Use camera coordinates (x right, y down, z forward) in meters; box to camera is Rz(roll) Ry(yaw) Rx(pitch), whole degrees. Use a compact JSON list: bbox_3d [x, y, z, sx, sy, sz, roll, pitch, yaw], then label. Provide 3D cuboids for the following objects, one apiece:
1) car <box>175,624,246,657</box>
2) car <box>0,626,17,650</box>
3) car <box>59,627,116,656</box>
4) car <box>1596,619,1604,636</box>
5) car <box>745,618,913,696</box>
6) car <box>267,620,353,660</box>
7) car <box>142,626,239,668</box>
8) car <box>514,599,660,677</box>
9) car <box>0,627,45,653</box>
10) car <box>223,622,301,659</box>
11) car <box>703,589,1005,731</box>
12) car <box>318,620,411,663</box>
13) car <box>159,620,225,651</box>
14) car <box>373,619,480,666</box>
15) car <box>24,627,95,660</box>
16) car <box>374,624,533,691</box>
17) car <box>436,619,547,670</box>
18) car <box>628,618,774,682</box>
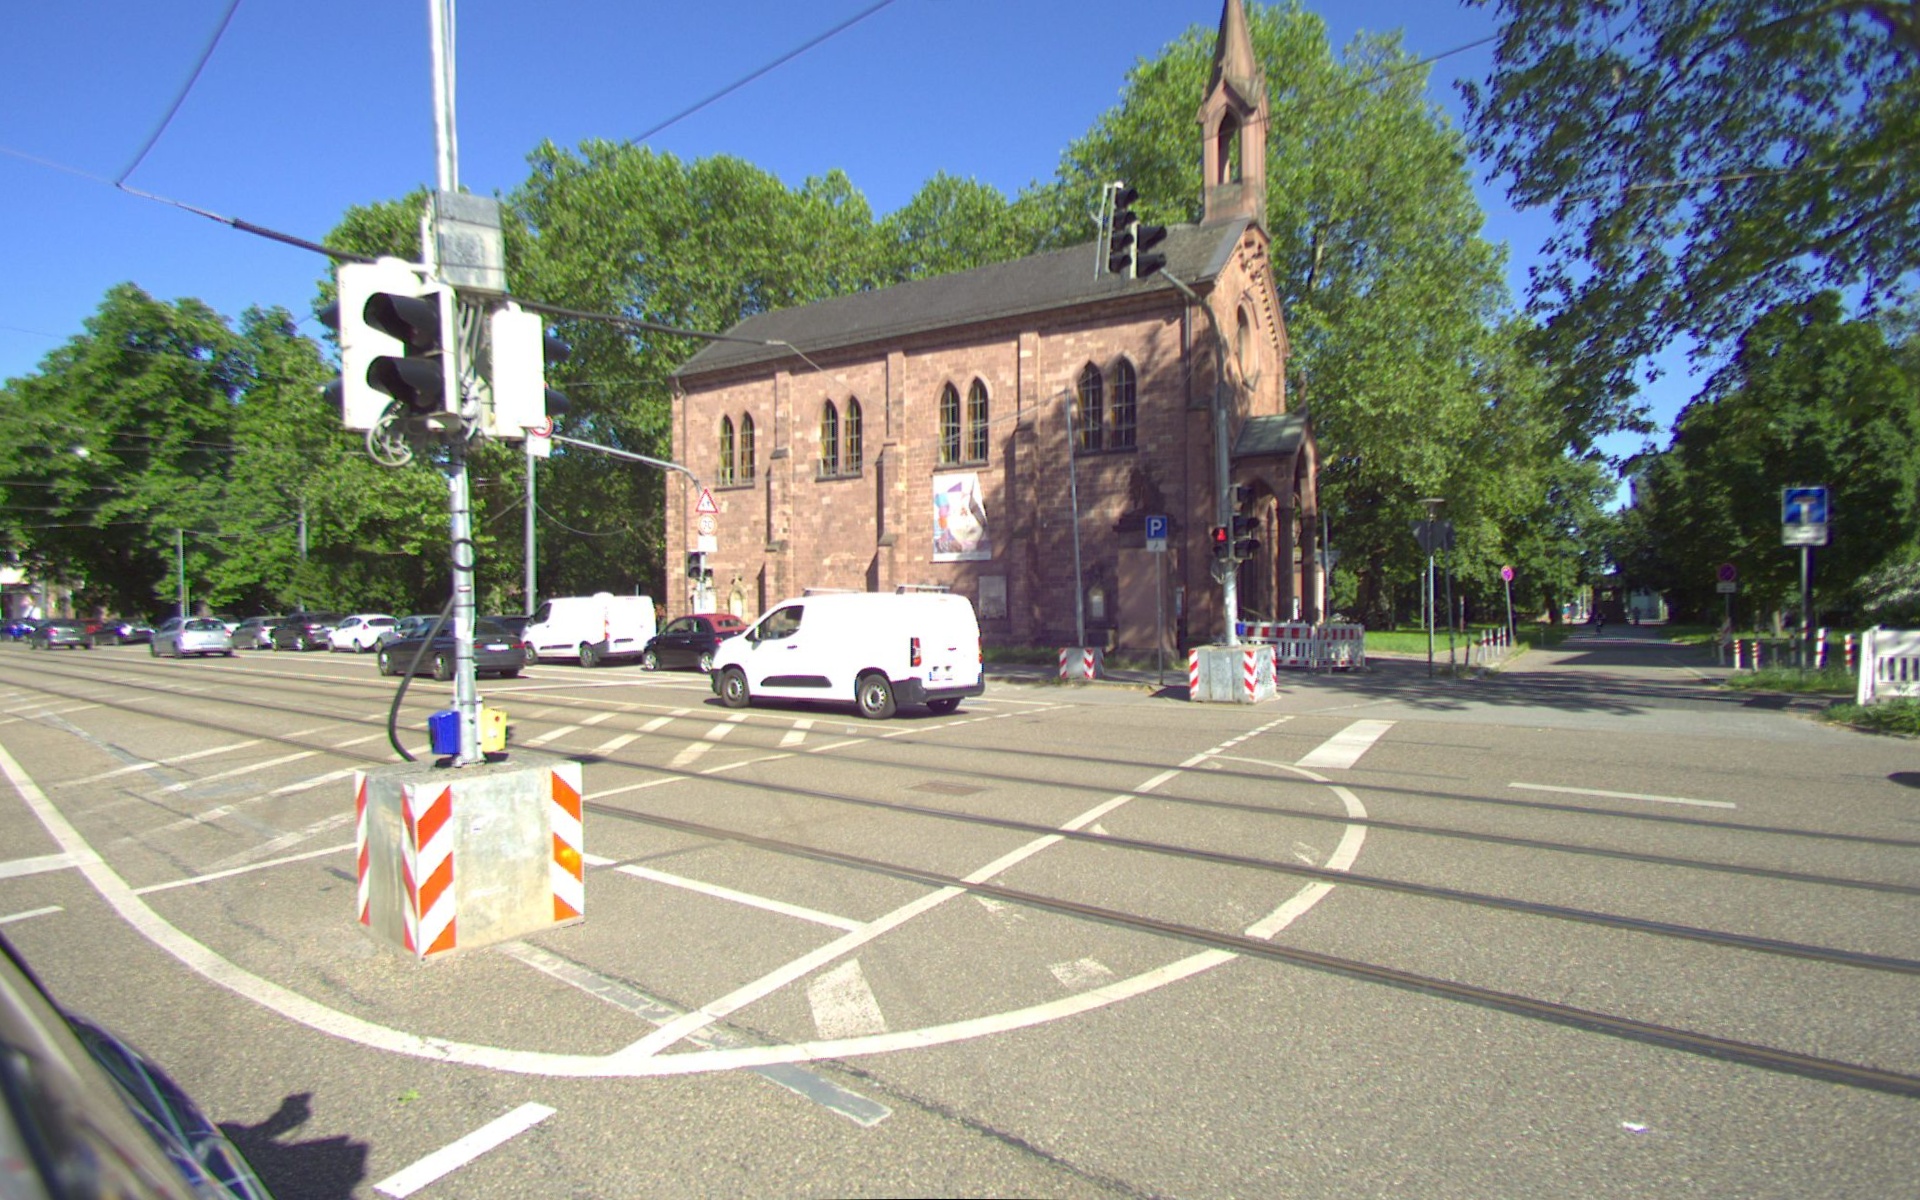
[{"bbox_3d":[-36.782,1.961,49.654,4.302,1.563,1.773,-1,-1,39],"label":"car"},{"bbox_3d":[-64.137,2.541,67.124,4.302,1.563,1.773,-1,-1,39],"label":"car"},{"bbox_3d":[-50.815,2.400,58.936,4.302,1.563,1.773,-1,-1,39],"label":"car"},{"bbox_3d":[43.394,1.867,68.602,0.393,1.158,1.272,-1,-1,33],"label":"car"},{"bbox_3d":[-3.093,1.273,23.603,3.672,1.585,1.758,-1,2,38],"label":"car"},{"bbox_3d":[-27.317,1.657,42.477,4.302,1.563,1.773,-1,-1,39],"label":"car"},{"bbox_3d":[-27.888,1.663,36.635,4.371,1.440,1.775,-1,-1,39],"label":"car"},{"bbox_3d":[-11.000,1.076,29.713,4.585,2.113,1.898,-1,-1,37],"label":"car"},{"bbox_3d":[-60.178,2.546,64.745,4.302,1.563,1.773,-1,-1,39],"label":"car"},{"bbox_3d":[-31.718,1.818,45.982,4.302,1.563,1.773,-1,-1,39],"label":"car"},{"bbox_3d":[-1.721,0.866,15.727,4.509,1.906,2.042,-1,-2,37],"label":"car"},{"bbox_3d":[-23.387,1.594,39.702,4.302,1.563,1.773,-1,-1,39],"label":"car"},{"bbox_3d":[-40.428,1.854,53.230,4.302,1.563,1.773,-1,-1,39],"label":"car"},{"bbox_3d":[-19.182,1.488,36.304,4.300,1.563,1.774,-1,-1,37],"label":"car"},{"bbox_3d":[-42.035,1.982,47.195,4.371,1.440,1.775,-1,-1,39],"label":"car"},{"bbox_3d":[-12.226,1.324,24.319,4.371,1.440,1.775,-1,-1,39],"label":"car"},{"bbox_3d":[-15.402,1.425,33.223,3.855,1.563,1.773,-1,-1,38],"label":"car"},{"bbox_3d":[-6.893,1.271,26.794,3.855,1.563,1.773,-1,-1,38],"label":"car"}]
